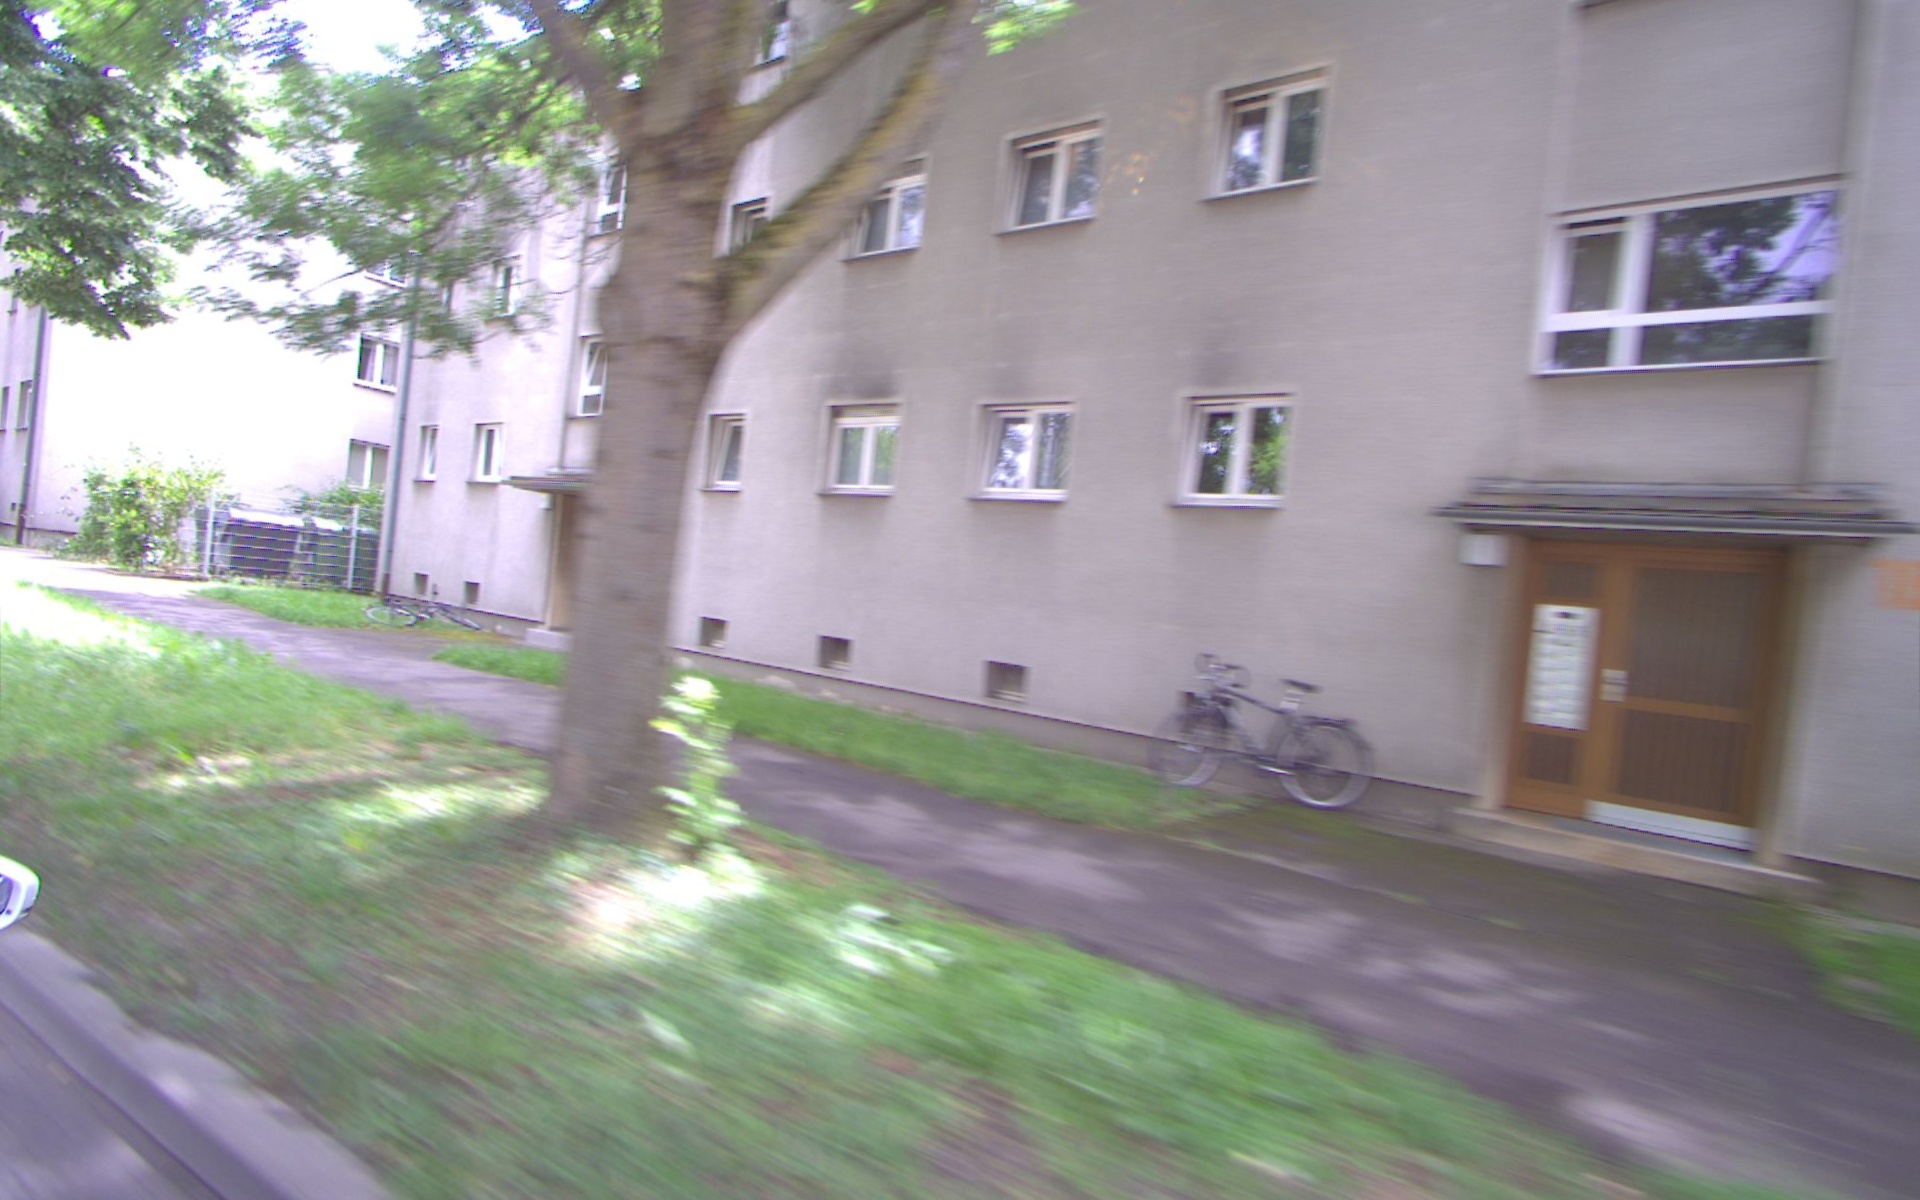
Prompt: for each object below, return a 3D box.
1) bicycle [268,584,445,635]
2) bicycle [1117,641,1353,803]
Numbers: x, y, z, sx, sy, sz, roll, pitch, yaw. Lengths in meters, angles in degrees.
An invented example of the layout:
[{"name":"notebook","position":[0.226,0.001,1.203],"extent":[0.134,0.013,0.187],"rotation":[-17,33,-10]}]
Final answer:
[{"name":"bicycle","position":[-9.183,0.163,15.392],"extent":[0.664,0.513,2.202],"rotation":[6,-3,42]},{"name":"bicycle","position":[2.246,0.993,8.277],"extent":[1.723,1.093,0.436],"rotation":[7,-1,-4]}]
